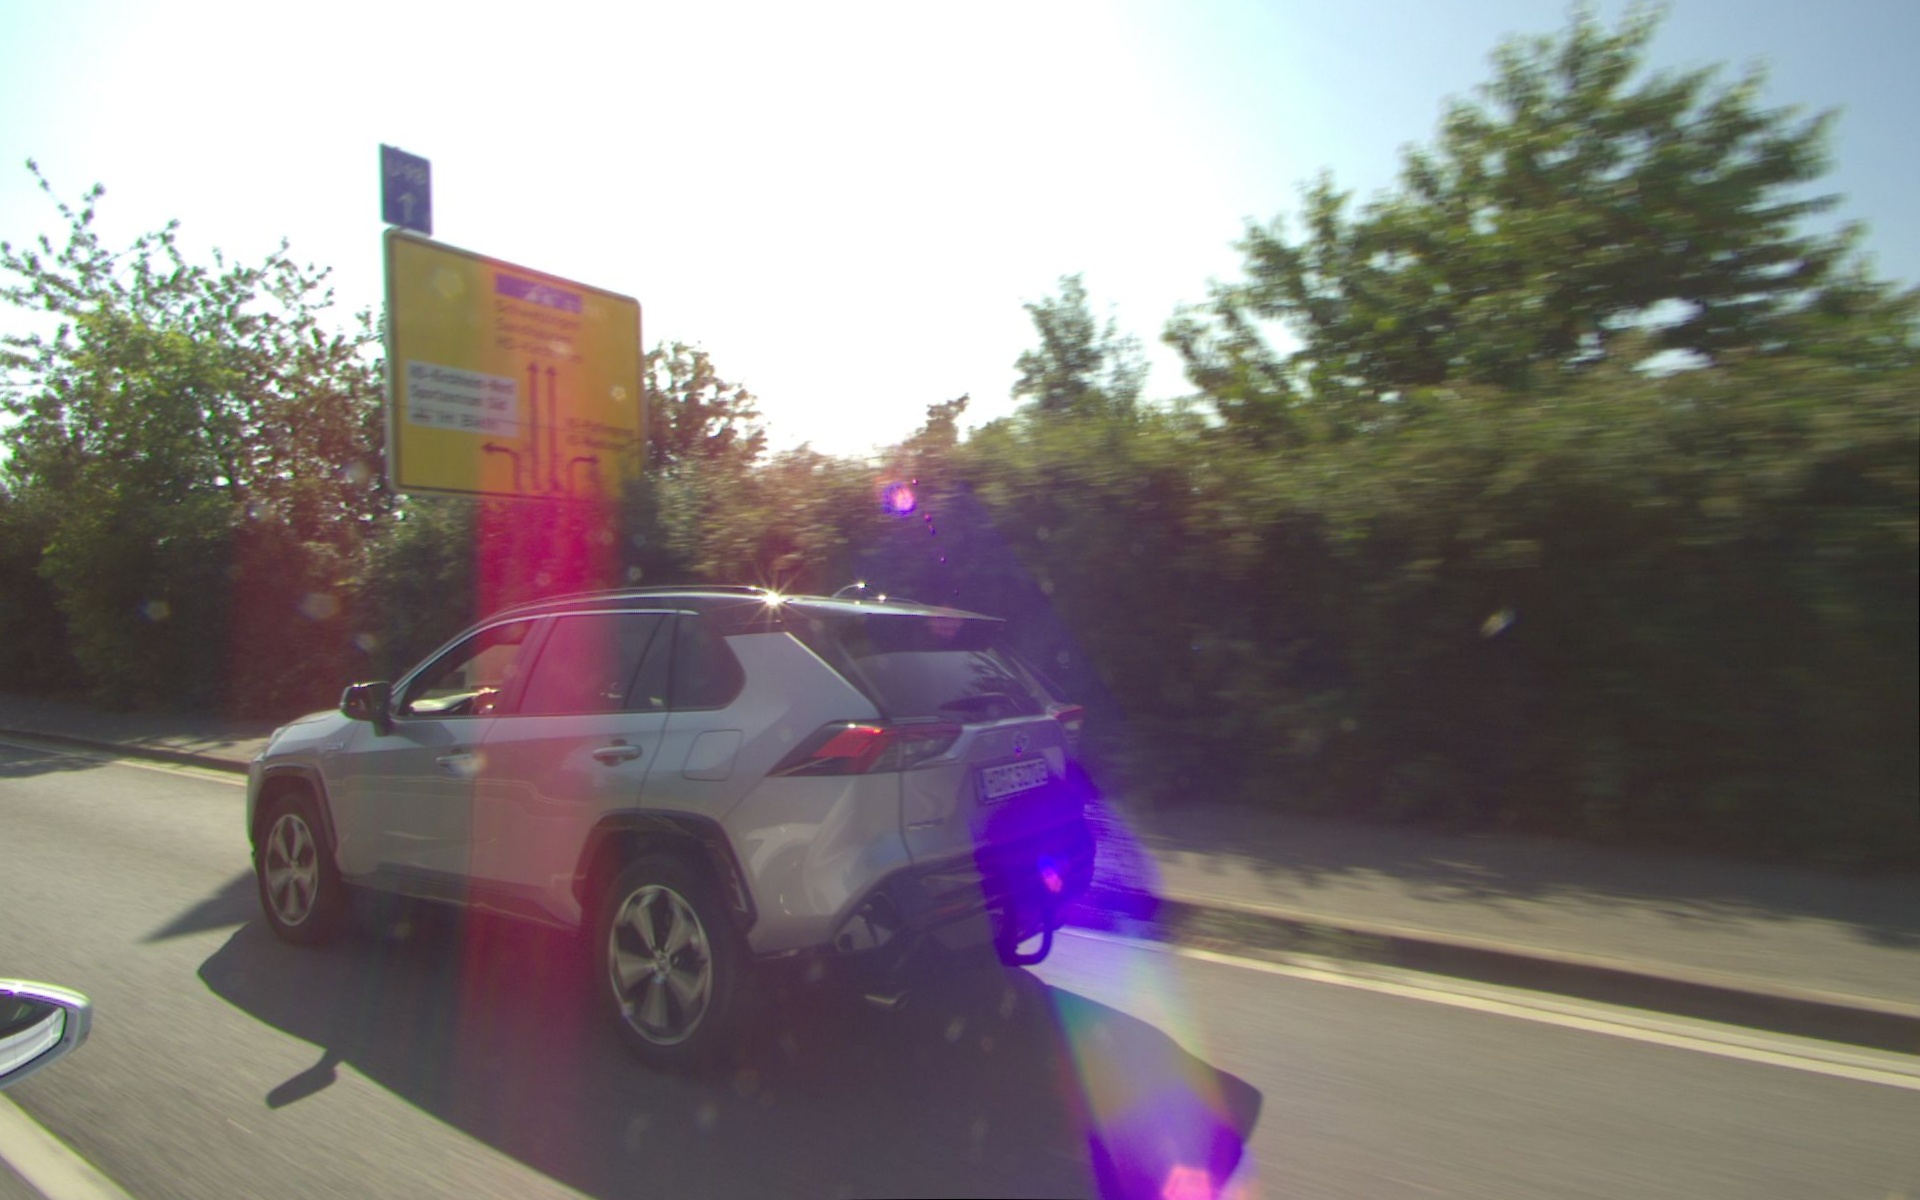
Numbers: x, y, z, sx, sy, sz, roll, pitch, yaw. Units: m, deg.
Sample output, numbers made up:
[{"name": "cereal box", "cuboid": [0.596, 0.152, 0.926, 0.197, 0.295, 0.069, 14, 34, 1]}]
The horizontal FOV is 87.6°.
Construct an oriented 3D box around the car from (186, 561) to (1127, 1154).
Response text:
[{"name": "car", "cuboid": [-1.691, 0.810, 4.933, 4.616, 1.701, 1.899, -1, -2, 32]}]
